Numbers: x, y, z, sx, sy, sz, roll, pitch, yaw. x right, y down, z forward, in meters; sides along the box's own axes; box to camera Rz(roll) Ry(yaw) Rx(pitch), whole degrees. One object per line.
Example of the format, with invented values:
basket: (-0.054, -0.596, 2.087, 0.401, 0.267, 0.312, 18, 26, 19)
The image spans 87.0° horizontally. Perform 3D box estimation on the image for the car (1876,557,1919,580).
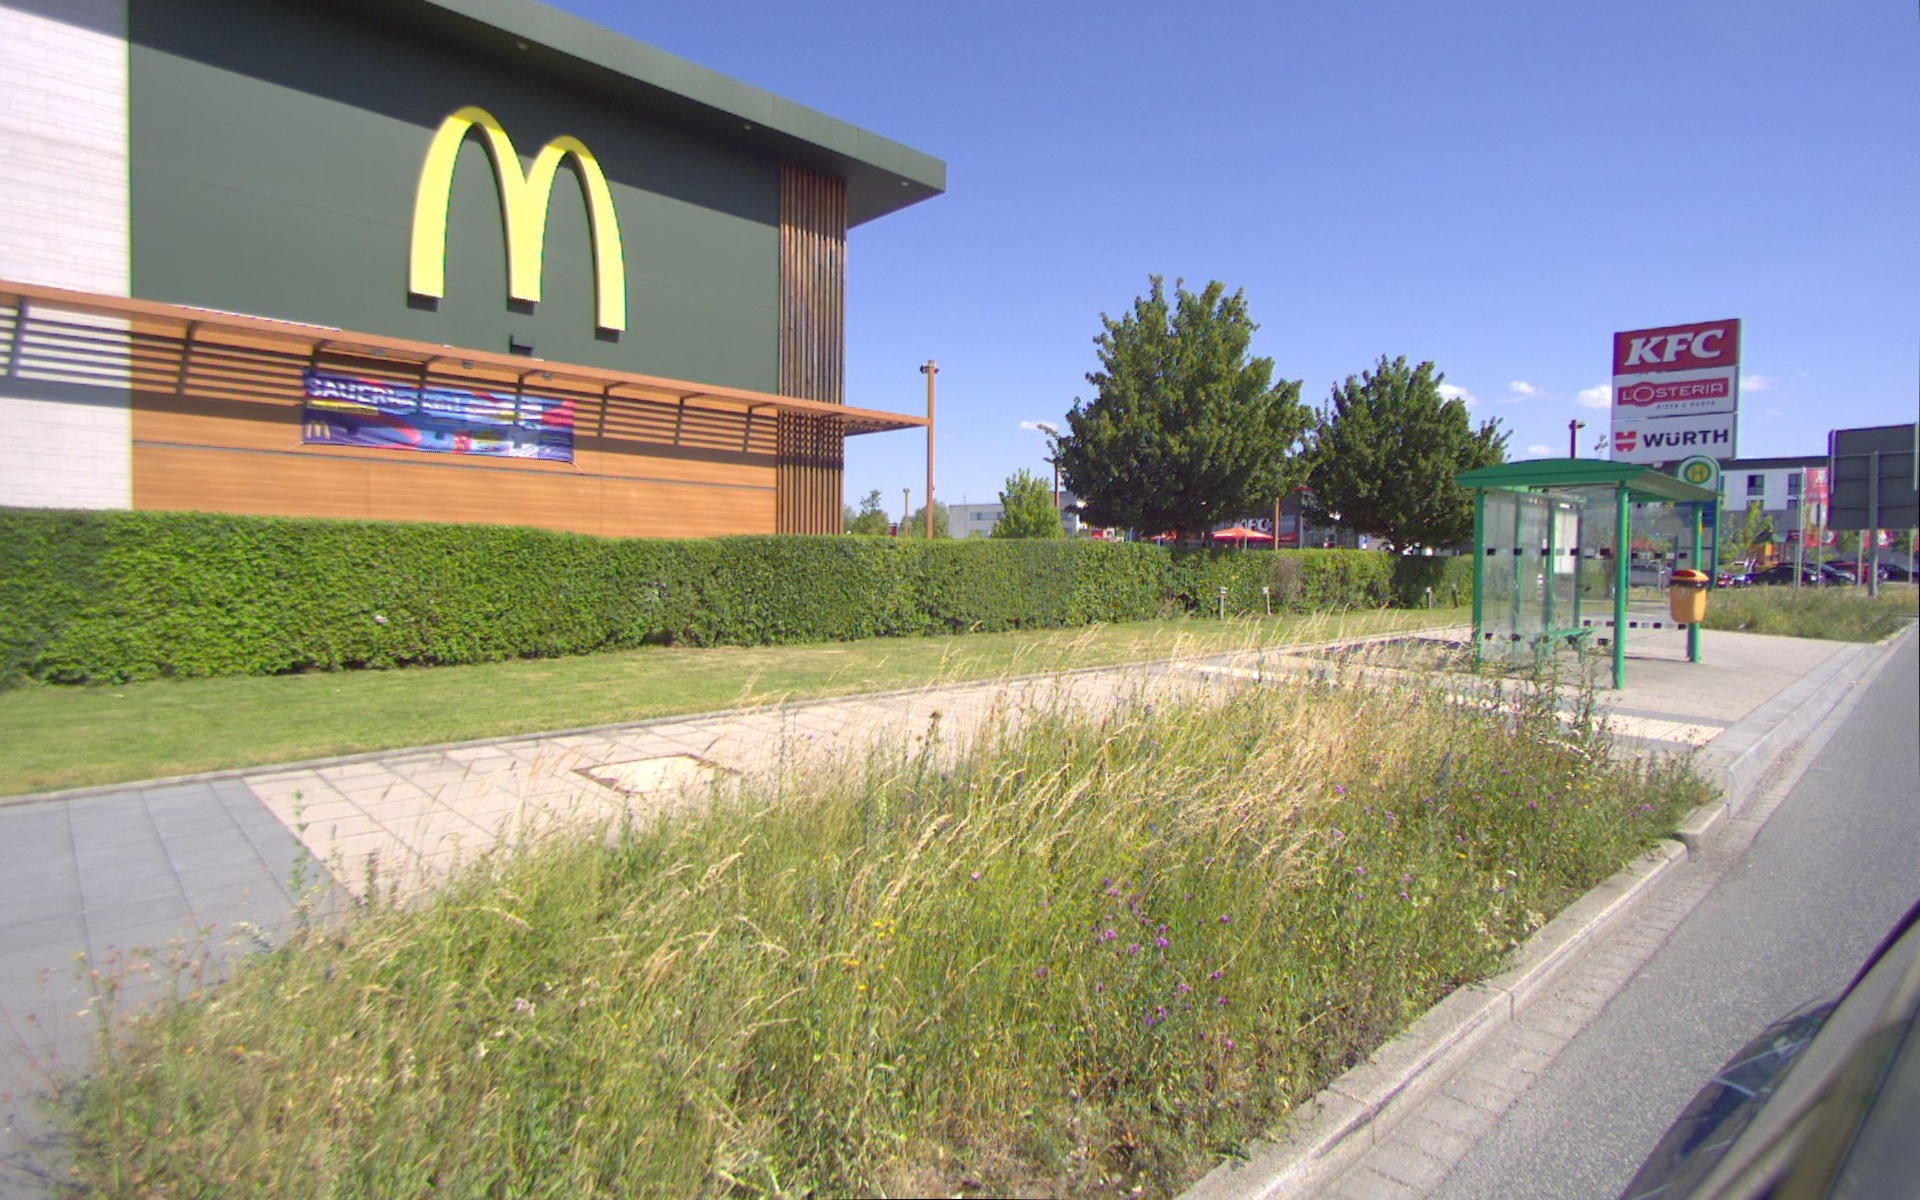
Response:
car: (67.702, -2.229, 71.705, 1.722, 1.639, 3.830, -1, 2, -30)

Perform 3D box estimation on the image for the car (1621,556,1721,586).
car: (41.800, -1.714, 59.599, 1.897, 1.673, 4.443, -1, 3, -36)

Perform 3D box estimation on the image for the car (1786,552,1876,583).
car: (58.648, -2.196, 68.190, 1.895, 2.038, 4.192, -1, 2, -31)

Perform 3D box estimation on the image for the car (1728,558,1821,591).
car: (51.944, -1.675, 64.632, 1.894, 2.038, 4.193, 0, 2, -29)

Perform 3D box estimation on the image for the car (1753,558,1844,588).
car: (54.380, -1.757, 65.729, 1.766, 1.880, 4.195, 0, 2, -25)

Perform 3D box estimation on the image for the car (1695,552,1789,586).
car: (48.712, -1.976, 63.101, 1.894, 2.038, 4.193, 0, 2, -29)

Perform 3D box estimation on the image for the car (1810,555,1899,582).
car: (61.337, -2.161, 69.473, 1.786, 1.783, 4.195, 0, 2, -26)

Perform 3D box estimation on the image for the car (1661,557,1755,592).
car: (45.771, -1.587, 61.987, 1.894, 2.038, 4.194, 0, 2, -28)
